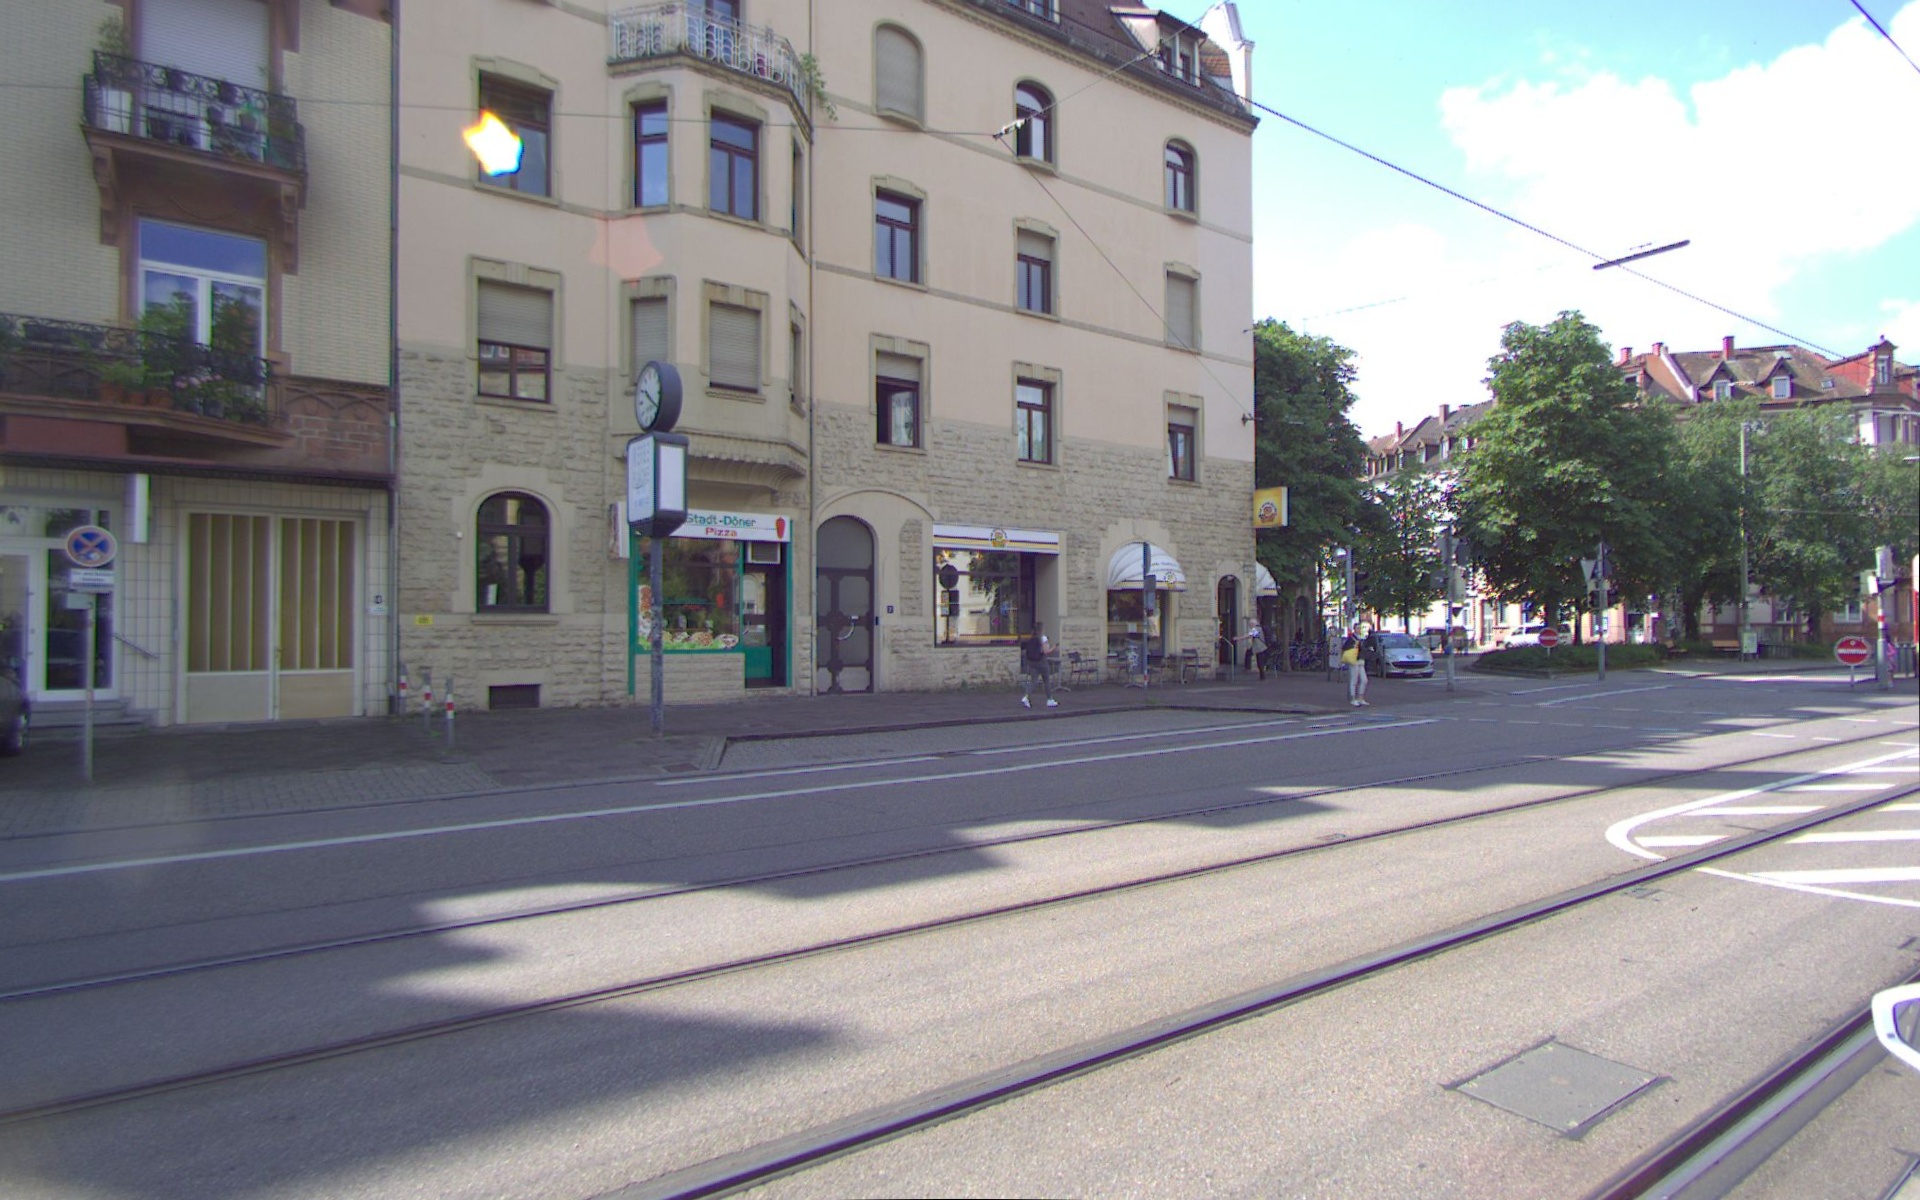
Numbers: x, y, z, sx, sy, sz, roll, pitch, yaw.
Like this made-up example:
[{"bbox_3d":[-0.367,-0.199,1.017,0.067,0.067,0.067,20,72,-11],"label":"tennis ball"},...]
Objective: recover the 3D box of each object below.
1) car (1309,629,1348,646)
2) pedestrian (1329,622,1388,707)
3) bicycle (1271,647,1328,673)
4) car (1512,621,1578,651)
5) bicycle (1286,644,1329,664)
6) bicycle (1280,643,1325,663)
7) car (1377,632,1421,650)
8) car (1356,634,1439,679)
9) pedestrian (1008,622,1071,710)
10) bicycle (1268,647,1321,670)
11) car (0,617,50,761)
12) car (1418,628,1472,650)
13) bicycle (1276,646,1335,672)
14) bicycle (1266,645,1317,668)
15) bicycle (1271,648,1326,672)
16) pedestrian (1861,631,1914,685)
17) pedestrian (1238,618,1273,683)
[{"bbox_3d":[34.852,3.535,95.104,1.687,1.575,3.912,0,-2,-12],"label":"car"},{"bbox_3d":[8.517,1.353,21.489,0.865,1.727,0.751,1,2,-35],"label":"pedestrian"},{"bbox_3d":[12.870,2.276,38.109,1.990,0.894,0.512,1,-1,12],"label":"bicycle"},{"bbox_3d":[40.722,2.501,70.018,1.823,2.015,3.941,0,-2,-10],"label":"car"},{"bbox_3d":[17.496,2.703,50.564,1.994,0.910,0.571,0,-2,29],"label":"bicycle"},{"bbox_3d":[16.833,2.615,49.382,1.993,0.910,0.571,0,-2,26],"label":"bicycle"},{"bbox_3d":[37.156,3.463,85.076,1.468,1.411,3.686,0,-2,-13],"label":"car"},{"bbox_3d":[14.937,1.900,34.487,1.686,1.439,3.876,-1,-2,9],"label":"car"},{"bbox_3d":[1.506,1.224,19.017,0.686,1.562,0.958,4,3,43],"label":"pedestrian"},{"bbox_3d":[13.502,2.357,40.620,1.990,0.894,0.512,1,-1,12],"label":"bicycle"},{"bbox_3d":[-11.247,0.962,10.708,1.688,1.506,3.425,1,0,-32],"label":"car"},{"bbox_3d":[38.438,3.091,79.703,1.882,1.685,3.934,0,-2,-11],"label":"car"},{"bbox_3d":[12.631,2.166,36.780,1.990,0.894,0.523,1,-1,12],"label":"bicycle"},{"bbox_3d":[13.933,2.369,42.284,1.990,0.894,0.547,1,-1,12],"label":"bicycle"},{"bbox_3d":[13.233,2.339,39.293,1.990,0.894,0.512,1,-1,12],"label":"bicycle"},{"bbox_3d":[23.289,1.459,25.225,0.711,1.320,0.819,1,-4,-38],"label":"pedestrian"},{"bbox_3d":[7.818,1.323,26.548,0.806,1.694,0.857,-1,-2,22],"label":"pedestrian"}]
